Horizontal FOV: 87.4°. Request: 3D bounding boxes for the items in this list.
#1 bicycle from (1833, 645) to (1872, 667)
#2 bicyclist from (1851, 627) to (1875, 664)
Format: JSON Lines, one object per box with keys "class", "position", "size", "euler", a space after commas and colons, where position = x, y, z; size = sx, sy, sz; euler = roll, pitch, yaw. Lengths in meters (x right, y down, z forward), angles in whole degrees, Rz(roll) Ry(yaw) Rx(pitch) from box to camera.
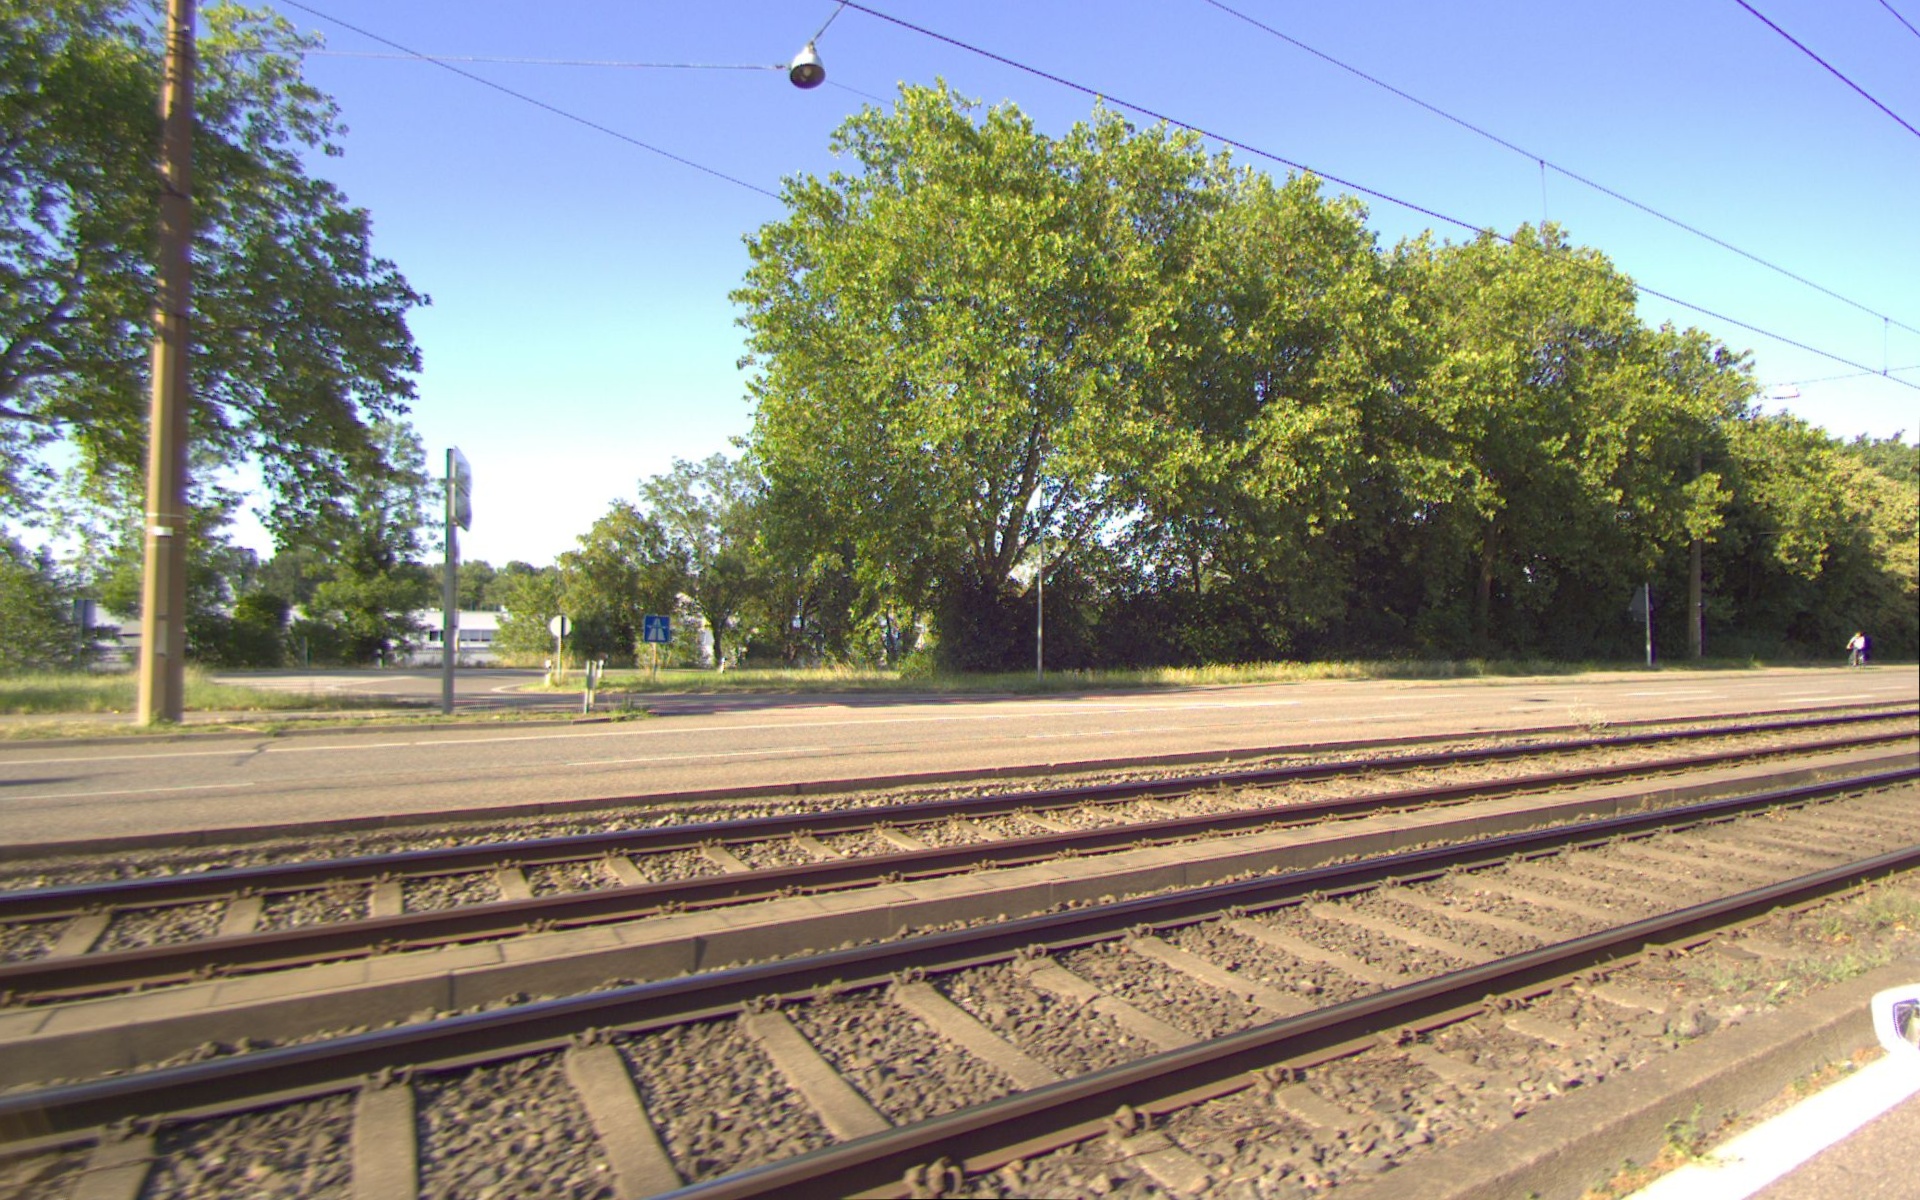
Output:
{"class": "bicycle", "position": [42.373, 2.672, 47.688], "size": [2.209, 0.999, 0.548], "euler": [2, 1, -26]}
{"class": "bicyclist", "position": [42.713, 2.144, 47.521], "size": [0.809, 1.713, 0.548], "euler": [1, 1, -26]}
